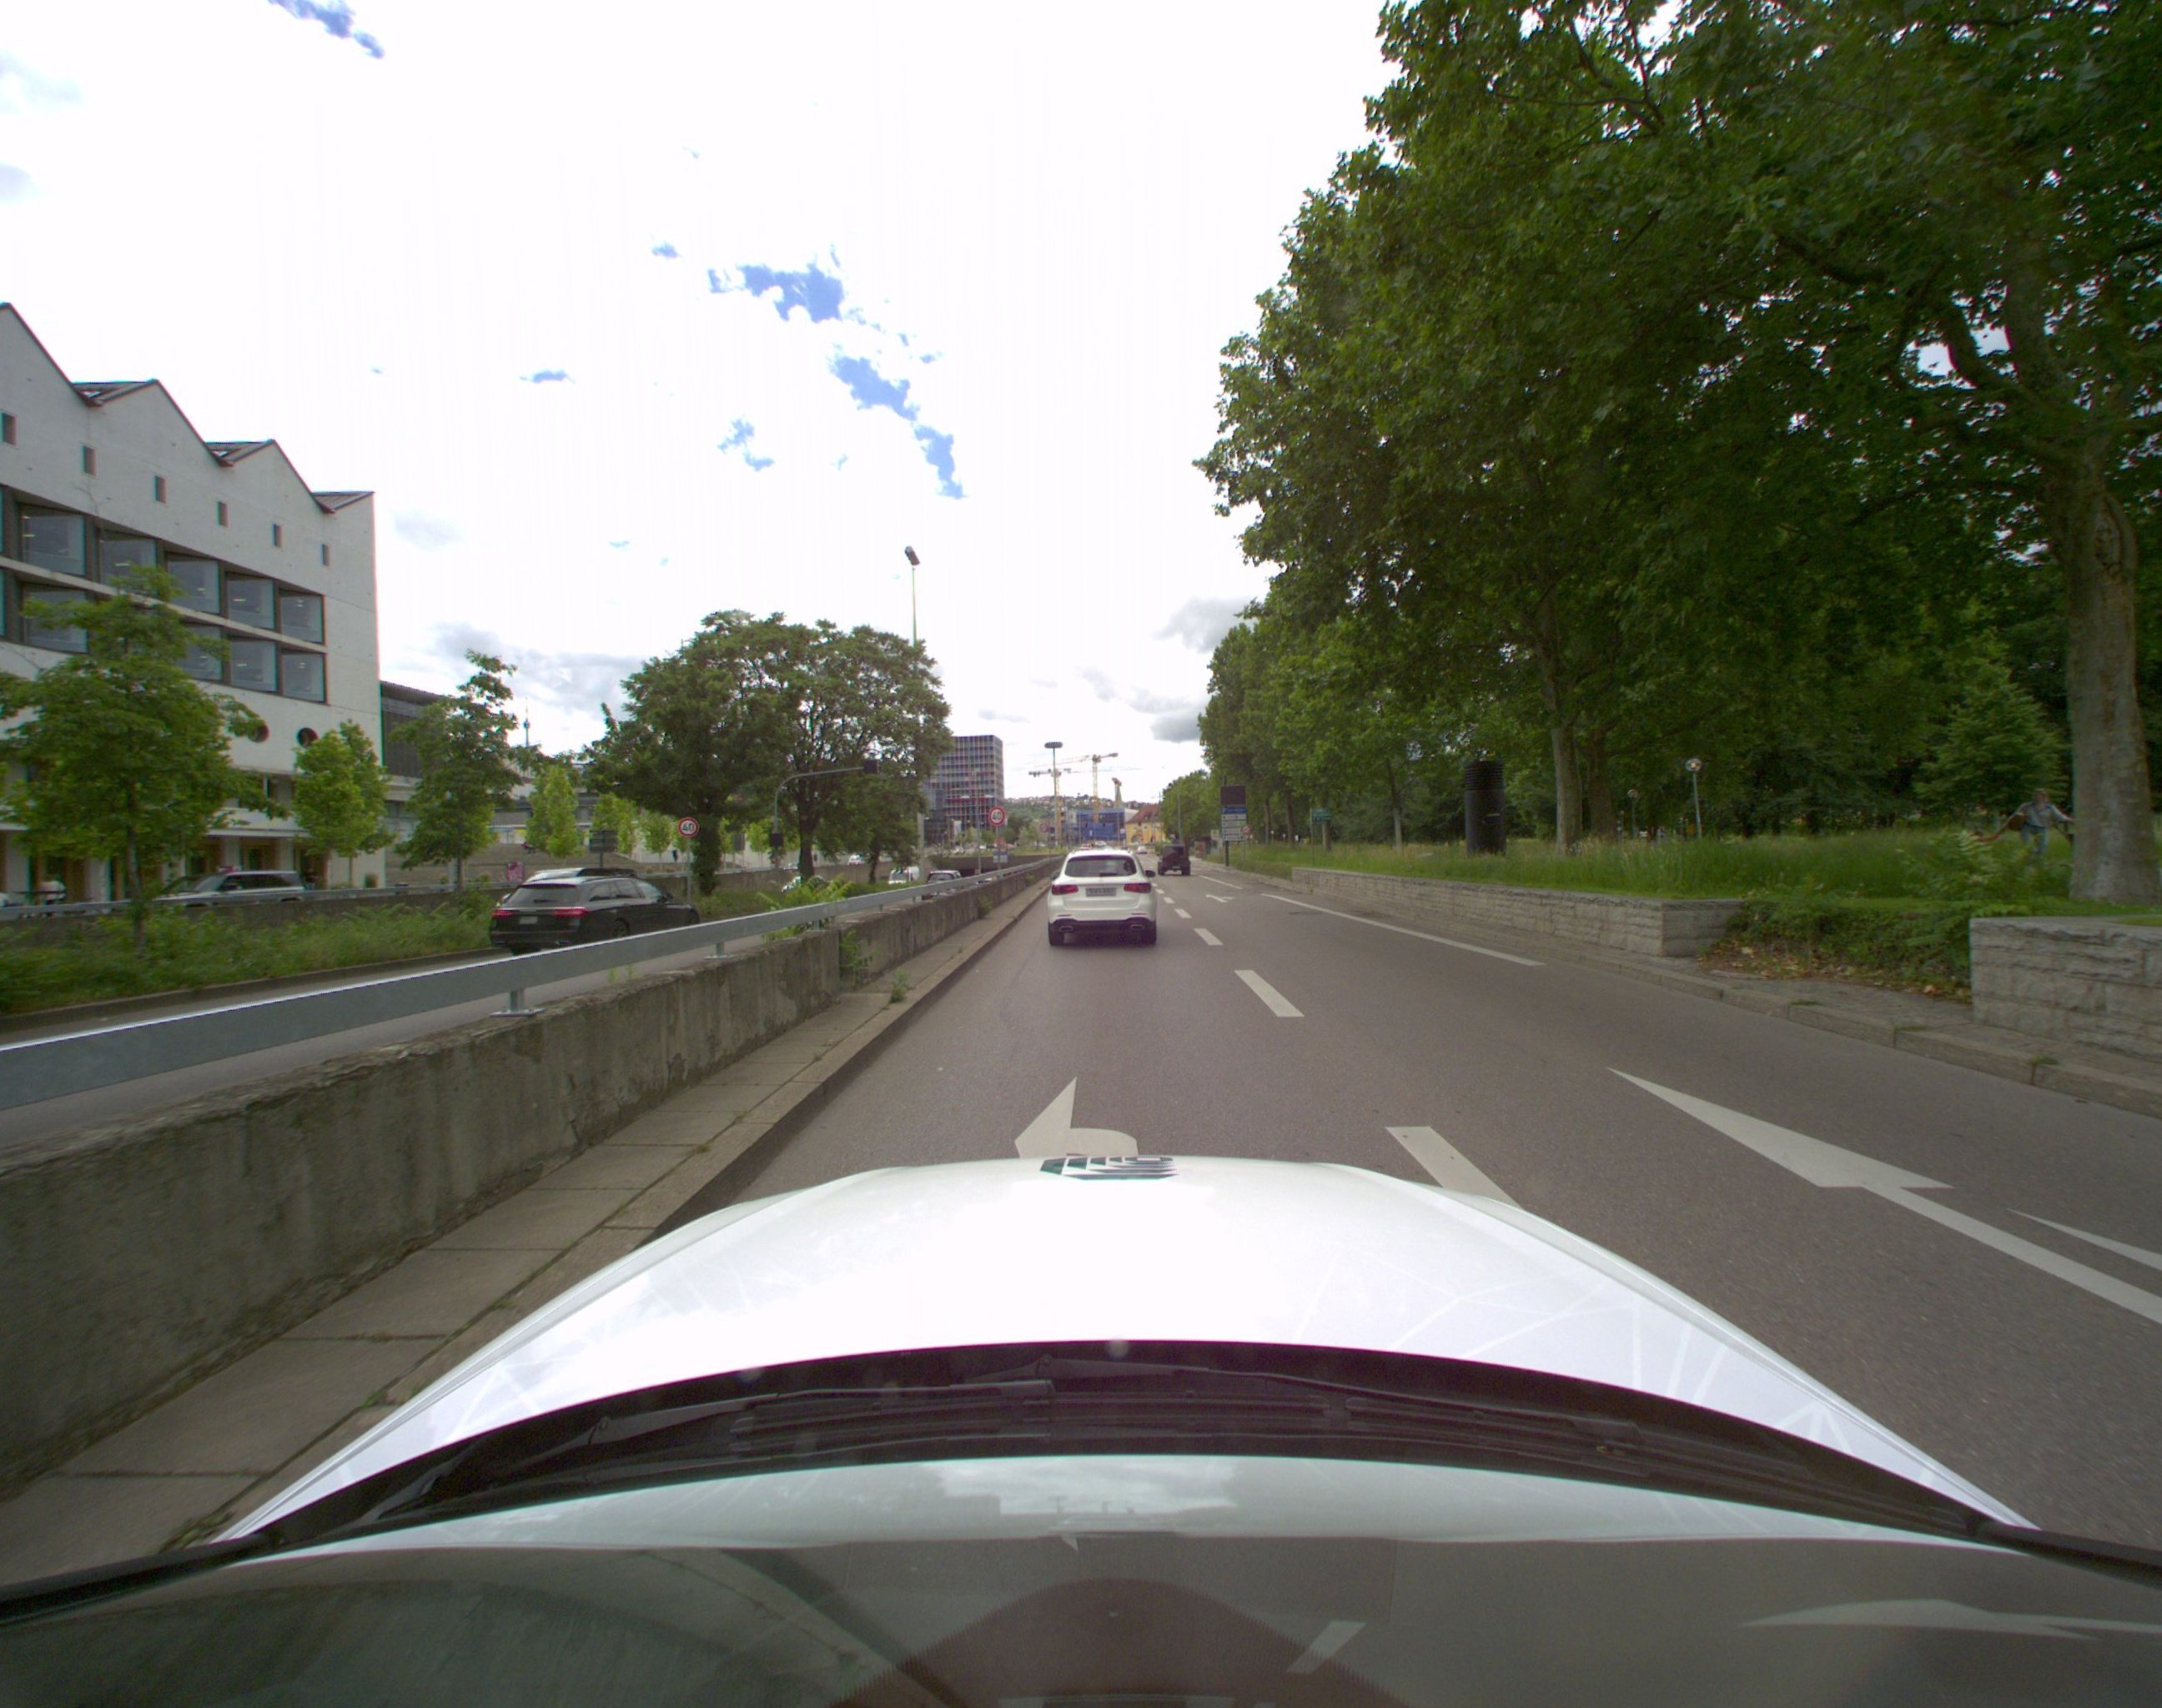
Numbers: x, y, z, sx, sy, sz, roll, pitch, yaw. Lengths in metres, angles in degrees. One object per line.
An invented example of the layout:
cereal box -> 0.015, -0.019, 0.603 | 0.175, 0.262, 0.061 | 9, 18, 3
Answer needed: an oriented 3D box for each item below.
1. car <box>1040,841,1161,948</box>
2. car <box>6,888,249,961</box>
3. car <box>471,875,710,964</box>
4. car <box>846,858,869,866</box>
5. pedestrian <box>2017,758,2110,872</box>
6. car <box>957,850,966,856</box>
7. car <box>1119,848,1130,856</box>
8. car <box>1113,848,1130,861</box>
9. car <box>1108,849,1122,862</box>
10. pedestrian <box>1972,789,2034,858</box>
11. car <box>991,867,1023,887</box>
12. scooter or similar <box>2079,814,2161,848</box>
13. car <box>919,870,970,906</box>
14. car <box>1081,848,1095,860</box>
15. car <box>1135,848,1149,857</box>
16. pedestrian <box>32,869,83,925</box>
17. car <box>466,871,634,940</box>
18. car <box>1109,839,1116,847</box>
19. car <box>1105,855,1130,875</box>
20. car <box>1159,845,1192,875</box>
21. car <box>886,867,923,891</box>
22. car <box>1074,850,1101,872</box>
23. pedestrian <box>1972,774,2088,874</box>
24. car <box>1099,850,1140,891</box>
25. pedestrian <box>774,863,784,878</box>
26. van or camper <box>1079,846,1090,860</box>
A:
car -> 0.323, 0.680, 15.193 | 1.934, 1.684, 3.999 | -1, -1, 0
car -> -28.017, 2.006, 24.199 | 1.850, 1.717, 4.447 | -3, 0, 2
car -> -9.414, 1.162, 16.229 | 1.806, 1.460, 4.861 | 0, -1, 0
car -> -29.930, 1.076, 109.203 | 1.803, 1.119, 4.806 | 1, -1, -1
pedestrian -> 18.014, -0.686, 14.956 | 0.568, 2.014, 0.933 | 1, -1, 2
car -> -26.377, -0.215, 179.601 | 1.829, 1.360, 3.862 | 1, -1, -5
car -> 8.117, -0.384, 153.006 | 1.714, 1.585, 3.998 | 1, 0, -1
car -> 5.077, 0.070, 102.885 | 1.987, 1.662, 3.999 | 1, -1, 0
car -> 4.992, 0.272, 120.924 | 1.987, 1.781, 3.999 | 1, -1, 0
pedestrian -> 18.031, -0.586, 15.934 | 0.580, 1.325, 0.542 | 1, -2, 1
car -> -5.256, 1.625, 58.497 | 1.712, 1.292, 4.003 | 1, 0, 3
scooter or similar -> 17.951, -0.385, 13.952 | 0.616, 0.552, 0.897 | 1, -1, 2
car -> -6.033, 1.467, 36.383 | 1.622, 1.509, 3.540 | 0, -1, 1
car -> 1.036, -0.026, 125.473 | 1.986, 1.757, 4.002 | 1, -1, 2
car -> 11.462, -0.296, 153.032 | 1.989, 1.618, 3.994 | 1, -1, -4
pedestrian -> -38.881, 1.610, 30.949 | 0.709, 2.013, 0.738 | -10, -1, -2
car -> -15.649, 1.446, 24.331 | 1.849, 1.717, 4.449 | -3, 0, 3
car -> 8.426, -2.944, 218.441 | 1.794, 2.014, 3.999 | 1, -1, 0
car -> 3.018, 0.936, 68.237 | 1.916, 1.602, 4.000 | -1, 0, 0
car -> 6.219, 0.411, 53.879 | 1.969, 1.893, 4.712 | 0, -1, 4
car -> -16.103, 2.249, 74.789 | 1.968, 2.165, 6.213 | 0, -1, 1
car -> 0.497, 0.515, 62.120 | 1.916, 1.602, 4.000 | -1, 0, 0
pedestrian -> 18.058, -0.548, 15.530 | 0.991, 1.836, 1.032 | 0, -1, 7
car -> 1.613, 0.718, 34.920 | 1.666, 1.628, 4.001 | 1, -1, 1
pedestrian -> -35.134, 1.922, 94.649 | 0.732, 1.640, 1.005 | -1, 0, 0
van or camper -> 0.700, -0.230, 145.475 | 1.916, 2.320, 3.999 | -1, -2, 0
